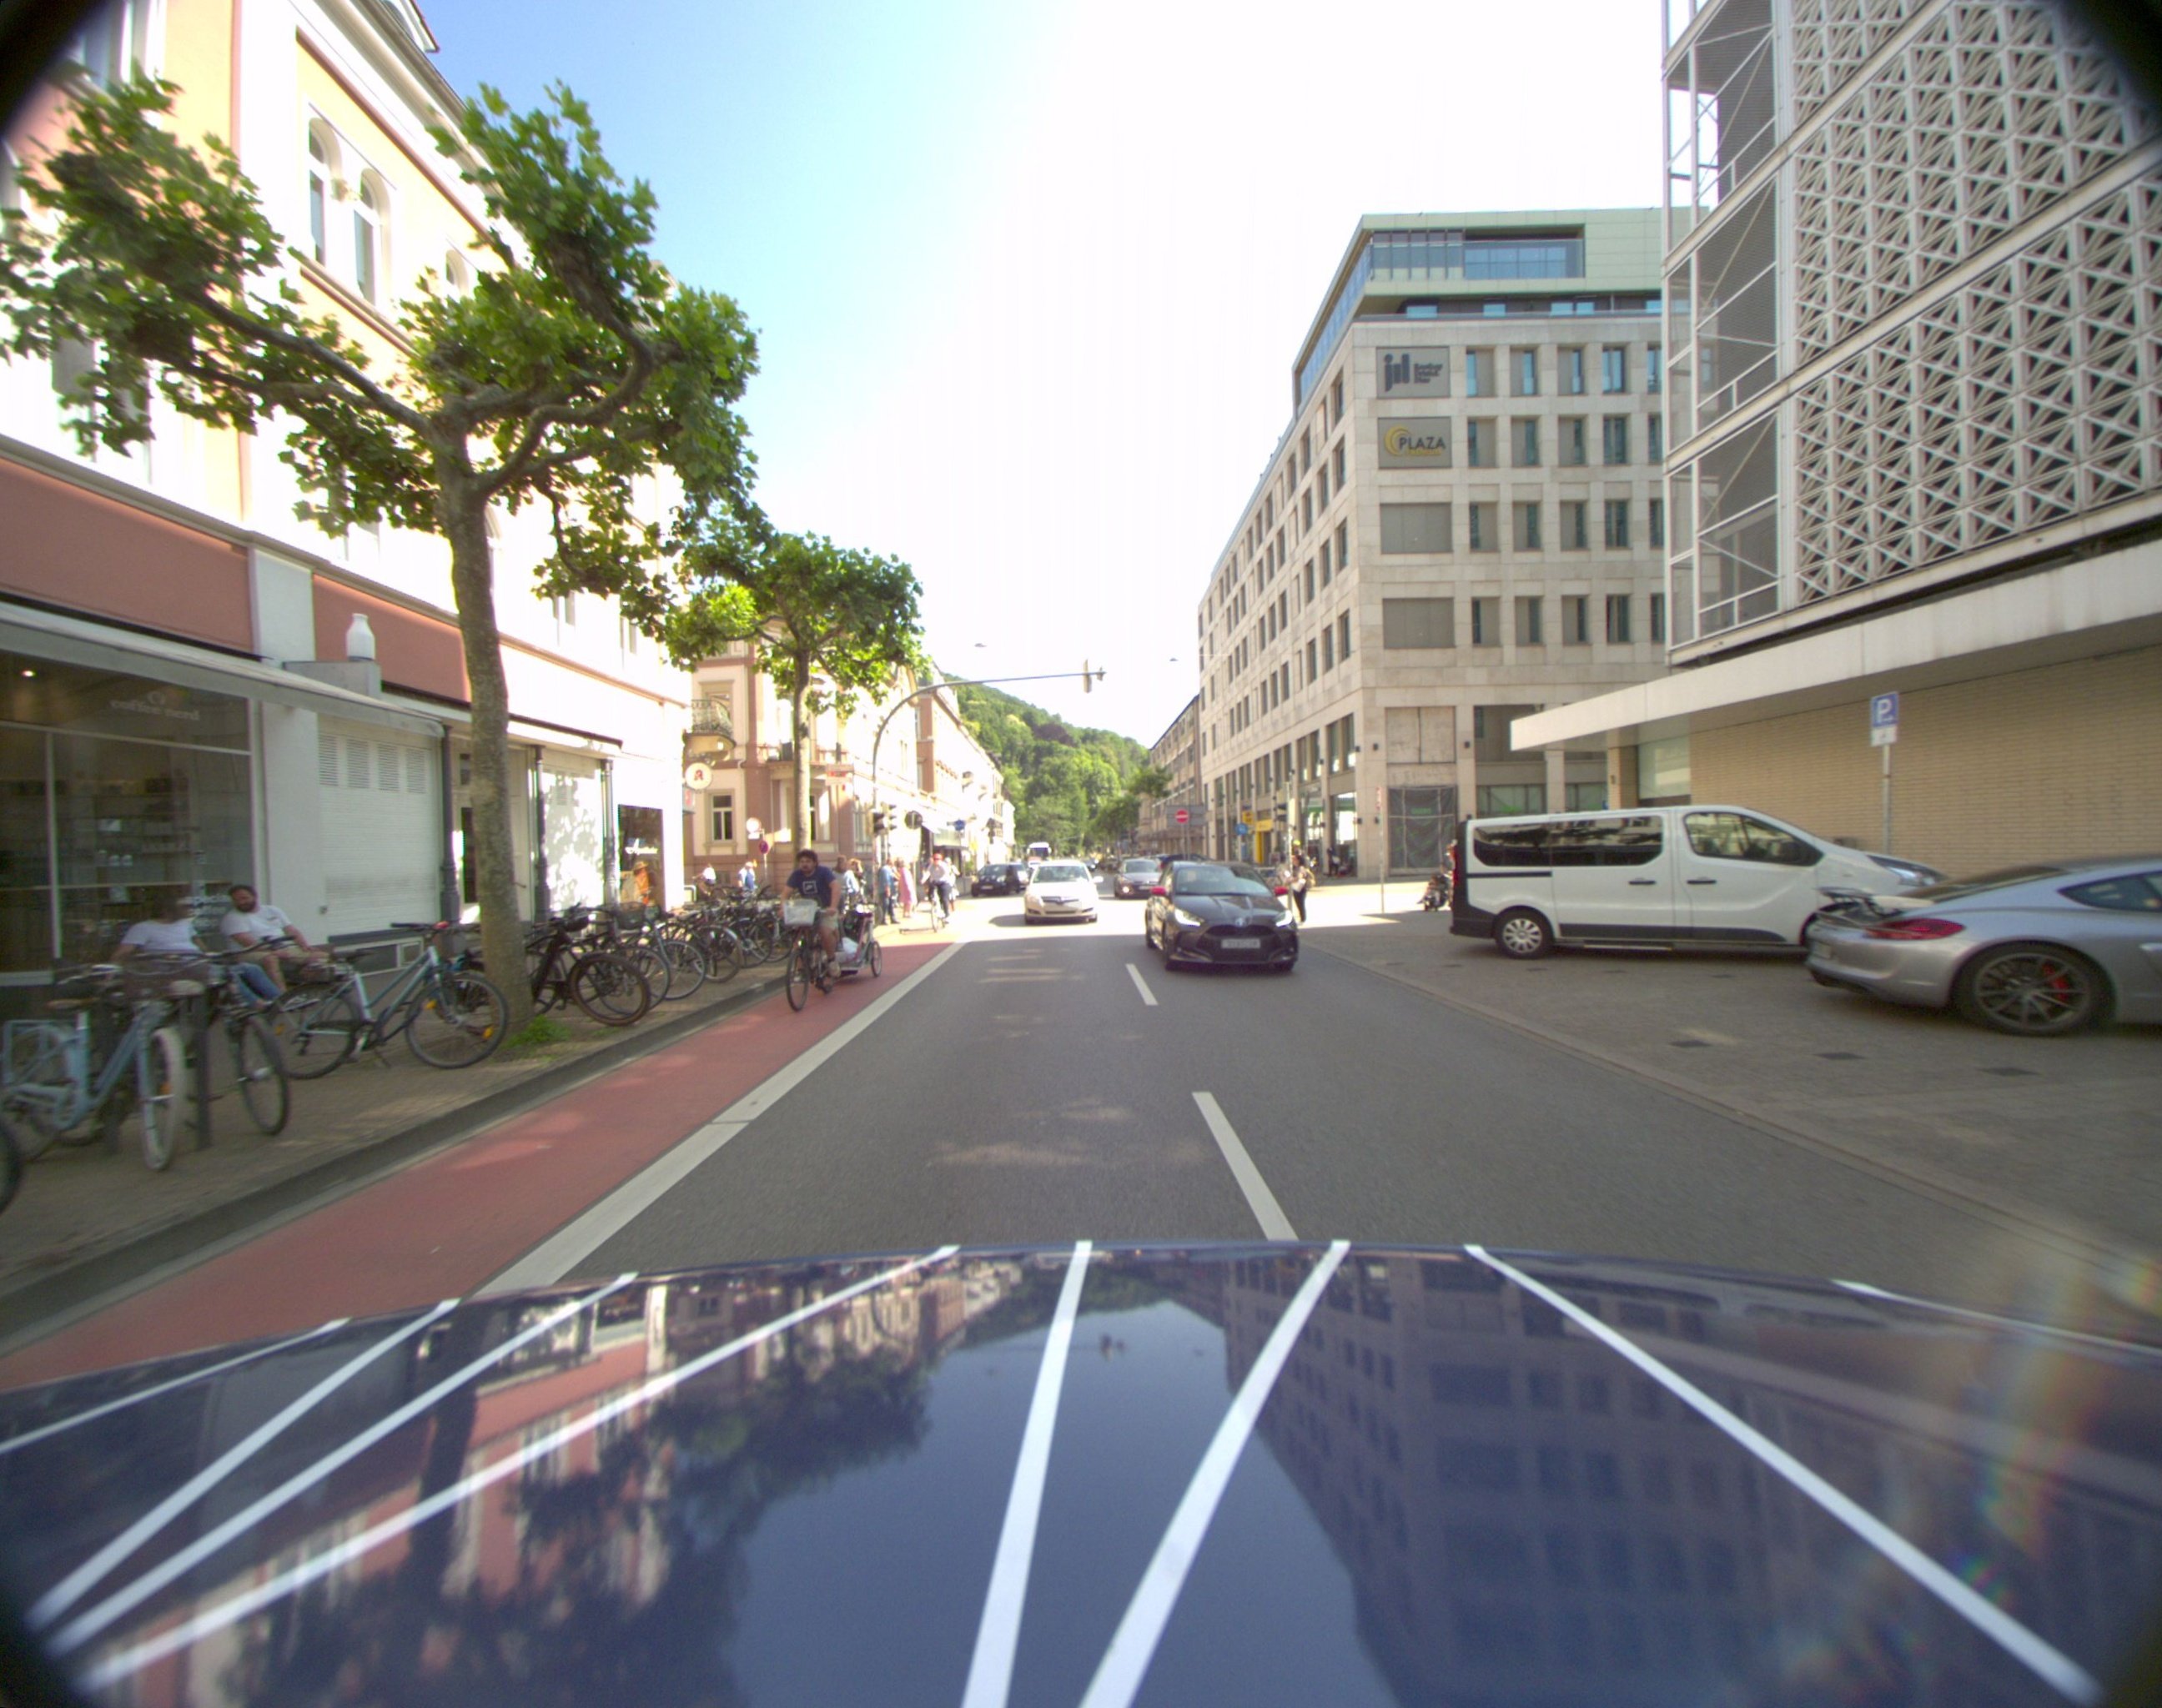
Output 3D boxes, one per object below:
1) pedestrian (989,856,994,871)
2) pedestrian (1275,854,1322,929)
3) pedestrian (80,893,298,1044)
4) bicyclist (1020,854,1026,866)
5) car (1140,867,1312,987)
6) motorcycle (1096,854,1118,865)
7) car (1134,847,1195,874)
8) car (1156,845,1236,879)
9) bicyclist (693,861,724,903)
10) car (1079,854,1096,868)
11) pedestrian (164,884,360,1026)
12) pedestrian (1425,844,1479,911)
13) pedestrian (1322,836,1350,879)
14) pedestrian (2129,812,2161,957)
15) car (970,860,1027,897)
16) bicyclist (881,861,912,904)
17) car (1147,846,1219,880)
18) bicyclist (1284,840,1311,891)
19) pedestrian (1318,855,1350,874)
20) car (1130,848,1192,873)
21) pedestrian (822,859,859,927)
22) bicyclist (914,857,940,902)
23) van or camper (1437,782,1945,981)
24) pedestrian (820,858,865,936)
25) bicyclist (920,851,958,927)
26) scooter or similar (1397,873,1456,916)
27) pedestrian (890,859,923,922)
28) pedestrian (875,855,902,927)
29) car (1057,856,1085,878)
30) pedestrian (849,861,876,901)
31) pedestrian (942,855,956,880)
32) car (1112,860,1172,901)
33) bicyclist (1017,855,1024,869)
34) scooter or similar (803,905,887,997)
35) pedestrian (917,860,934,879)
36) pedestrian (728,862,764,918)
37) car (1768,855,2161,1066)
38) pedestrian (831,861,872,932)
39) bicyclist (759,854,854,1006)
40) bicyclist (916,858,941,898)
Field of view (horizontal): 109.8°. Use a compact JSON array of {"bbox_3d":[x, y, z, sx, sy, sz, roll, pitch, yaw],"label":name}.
[{"bbox_3d":[-9.897,1.076,83.942,0.482,1.659,0.868,-1,1,-1],"label":"pedestrian"},{"bbox_3d":[4.670,0.789,16.361,0.641,1.550,0.680,-3,0,-12],"label":"pedestrian"},{"bbox_3d":[-9.259,1.153,7.942,1.236,1.414,0.789,-1,2,-3],"label":"pedestrian"},{"bbox_3d":[-7.531,0.748,98.685,0.747,1.564,0.844,-1,1,0],"label":"bicyclist"},{"bbox_3d":[1.941,0.935,11.408,1.868,1.469,4.107,0,-1,1],"label":"car"},{"bbox_3d":[3.514,0.762,102.254,0.980,1.342,3.094,-2,1,-44],"label":"motorcycle"},{"bbox_3d":[6.260,0.501,57.031,4.029,1.584,1.822,-7,0,32],"label":"car"},{"bbox_3d":[6.529,0.463,43.128,4.026,1.593,1.961,-4,1,22],"label":"car"},{"bbox_3d":[-14.351,1.078,29.261,0.747,1.564,0.844,-1,1,0],"label":"bicyclist"},{"bbox_3d":[0.728,0.767,85.885,1.734,1.389,4.106,-2,0,-1],"label":"car"},{"bbox_3d":[-9.427,1.132,8.801,1.255,1.475,0.837,-2,1,-3],"label":"pedestrian"},{"bbox_3d":[9.489,0.593,19.465,0.845,1.649,0.840,-2,0,-20],"label":"pedestrian"},{"bbox_3d":[11.797,0.165,35.199,0.840,1.868,0.844,-6,1,0],"label":"pedestrian"},{"bbox_3d":[12.380,0.332,8.316,0.589,1.626,0.863,-3,1,0],"label":"pedestrian"},{"bbox_3d":[-3.703,1.073,34.626,1.632,1.470,3.733,-2,1,8],"label":"car"},{"bbox_3d":[-6.103,0.929,25.168,0.861,1.403,0.501,-1,1,0],"label":"bicyclist"},{"bbox_3d":[6.244,0.557,46.535,4.166,1.627,2.103,-5,0,8],"label":"car"},{"bbox_3d":[8.613,0.445,30.246,0.843,1.948,1.017,-2,1,5],"label":"bicyclist"},{"bbox_3d":[12.389,0.505,37.200,1.253,0.920,0.841,-2,0,-2],"label":"pedestrian"},{"bbox_3d":[6.350,0.516,60.539,4.493,1.424,1.865,-7,0,19],"label":"car"},{"bbox_3d":[-6.711,1.071,21.243,0.640,1.832,0.615,-3,1,11],"label":"pedestrian"},{"bbox_3d":[-6.052,0.988,29.918,0.840,1.707,0.844,-1,1,0],"label":"bicyclist"},{"bbox_3d":[7.421,0.360,9.846,4.648,2.002,2.004,-4,0,39],"label":"van or camper"},{"bbox_3d":[-5.645,1.010,18.048,0.789,1.784,0.641,-3,0,-3],"label":"pedestrian"},{"bbox_3d":[-3.282,0.790,17.584,0.684,1.707,0.844,-2,1,-3],"label":"bicyclist"},{"bbox_3d":[8.630,0.993,19.016,0.974,0.959,0.900,-3,1,-21],"label":"scooter or similar"},{"bbox_3d":[-4.988,1.020,21.739,0.641,1.700,0.789,-5,3,-3],"label":"pedestrian"},{"bbox_3d":[-4.902,0.930,19.349,0.453,1.784,0.607,-3,0,-3],"label":"pedestrian"},{"bbox_3d":[-0.685,0.885,51.718,1.775,1.469,4.106,0,-1,-1],"label":"car"},{"bbox_3d":[-9.155,1.117,31.828,0.904,1.603,0.974,-2,4,-29],"label":"pedestrian"},{"bbox_3d":[-9.551,0.939,55.084,0.840,1.781,0.767,-1,1,0],"label":"pedestrian"},{"bbox_3d":[2.192,0.924,28.302,1.734,1.389,4.106,-2,0,-2],"label":"car"},{"bbox_3d":[-7.264,1.001,91.830,0.747,1.693,1.036,-1,1,0],"label":"bicyclist"},{"bbox_3d":[-3.181,1.288,10.332,0.785,1.054,1.125,-3,1,-4],"label":"scooter or similar"},{"bbox_3d":[-10.771,1.098,52.681,1.032,1.308,0.625,0,1,-2],"label":"pedestrian"},{"bbox_3d":[-10.125,1.092,22.989,0.640,1.648,0.791,-2,-2,11],"label":"pedestrian"},{"bbox_3d":[8.154,0.699,5.559,4.288,1.279,1.974,-4,0,31],"label":"car"},{"bbox_3d":[-5.658,1.036,18.776,0.789,1.680,0.641,-2,0,-3],"label":"pedestrian"},{"bbox_3d":[-3.129,0.838,8.720,0.732,1.664,0.775,-1,1,5],"label":"bicyclist"},{"bbox_3d":[-6.696,1.042,33.452,0.910,1.707,0.844,-1,1,0],"label":"bicyclist"}]
